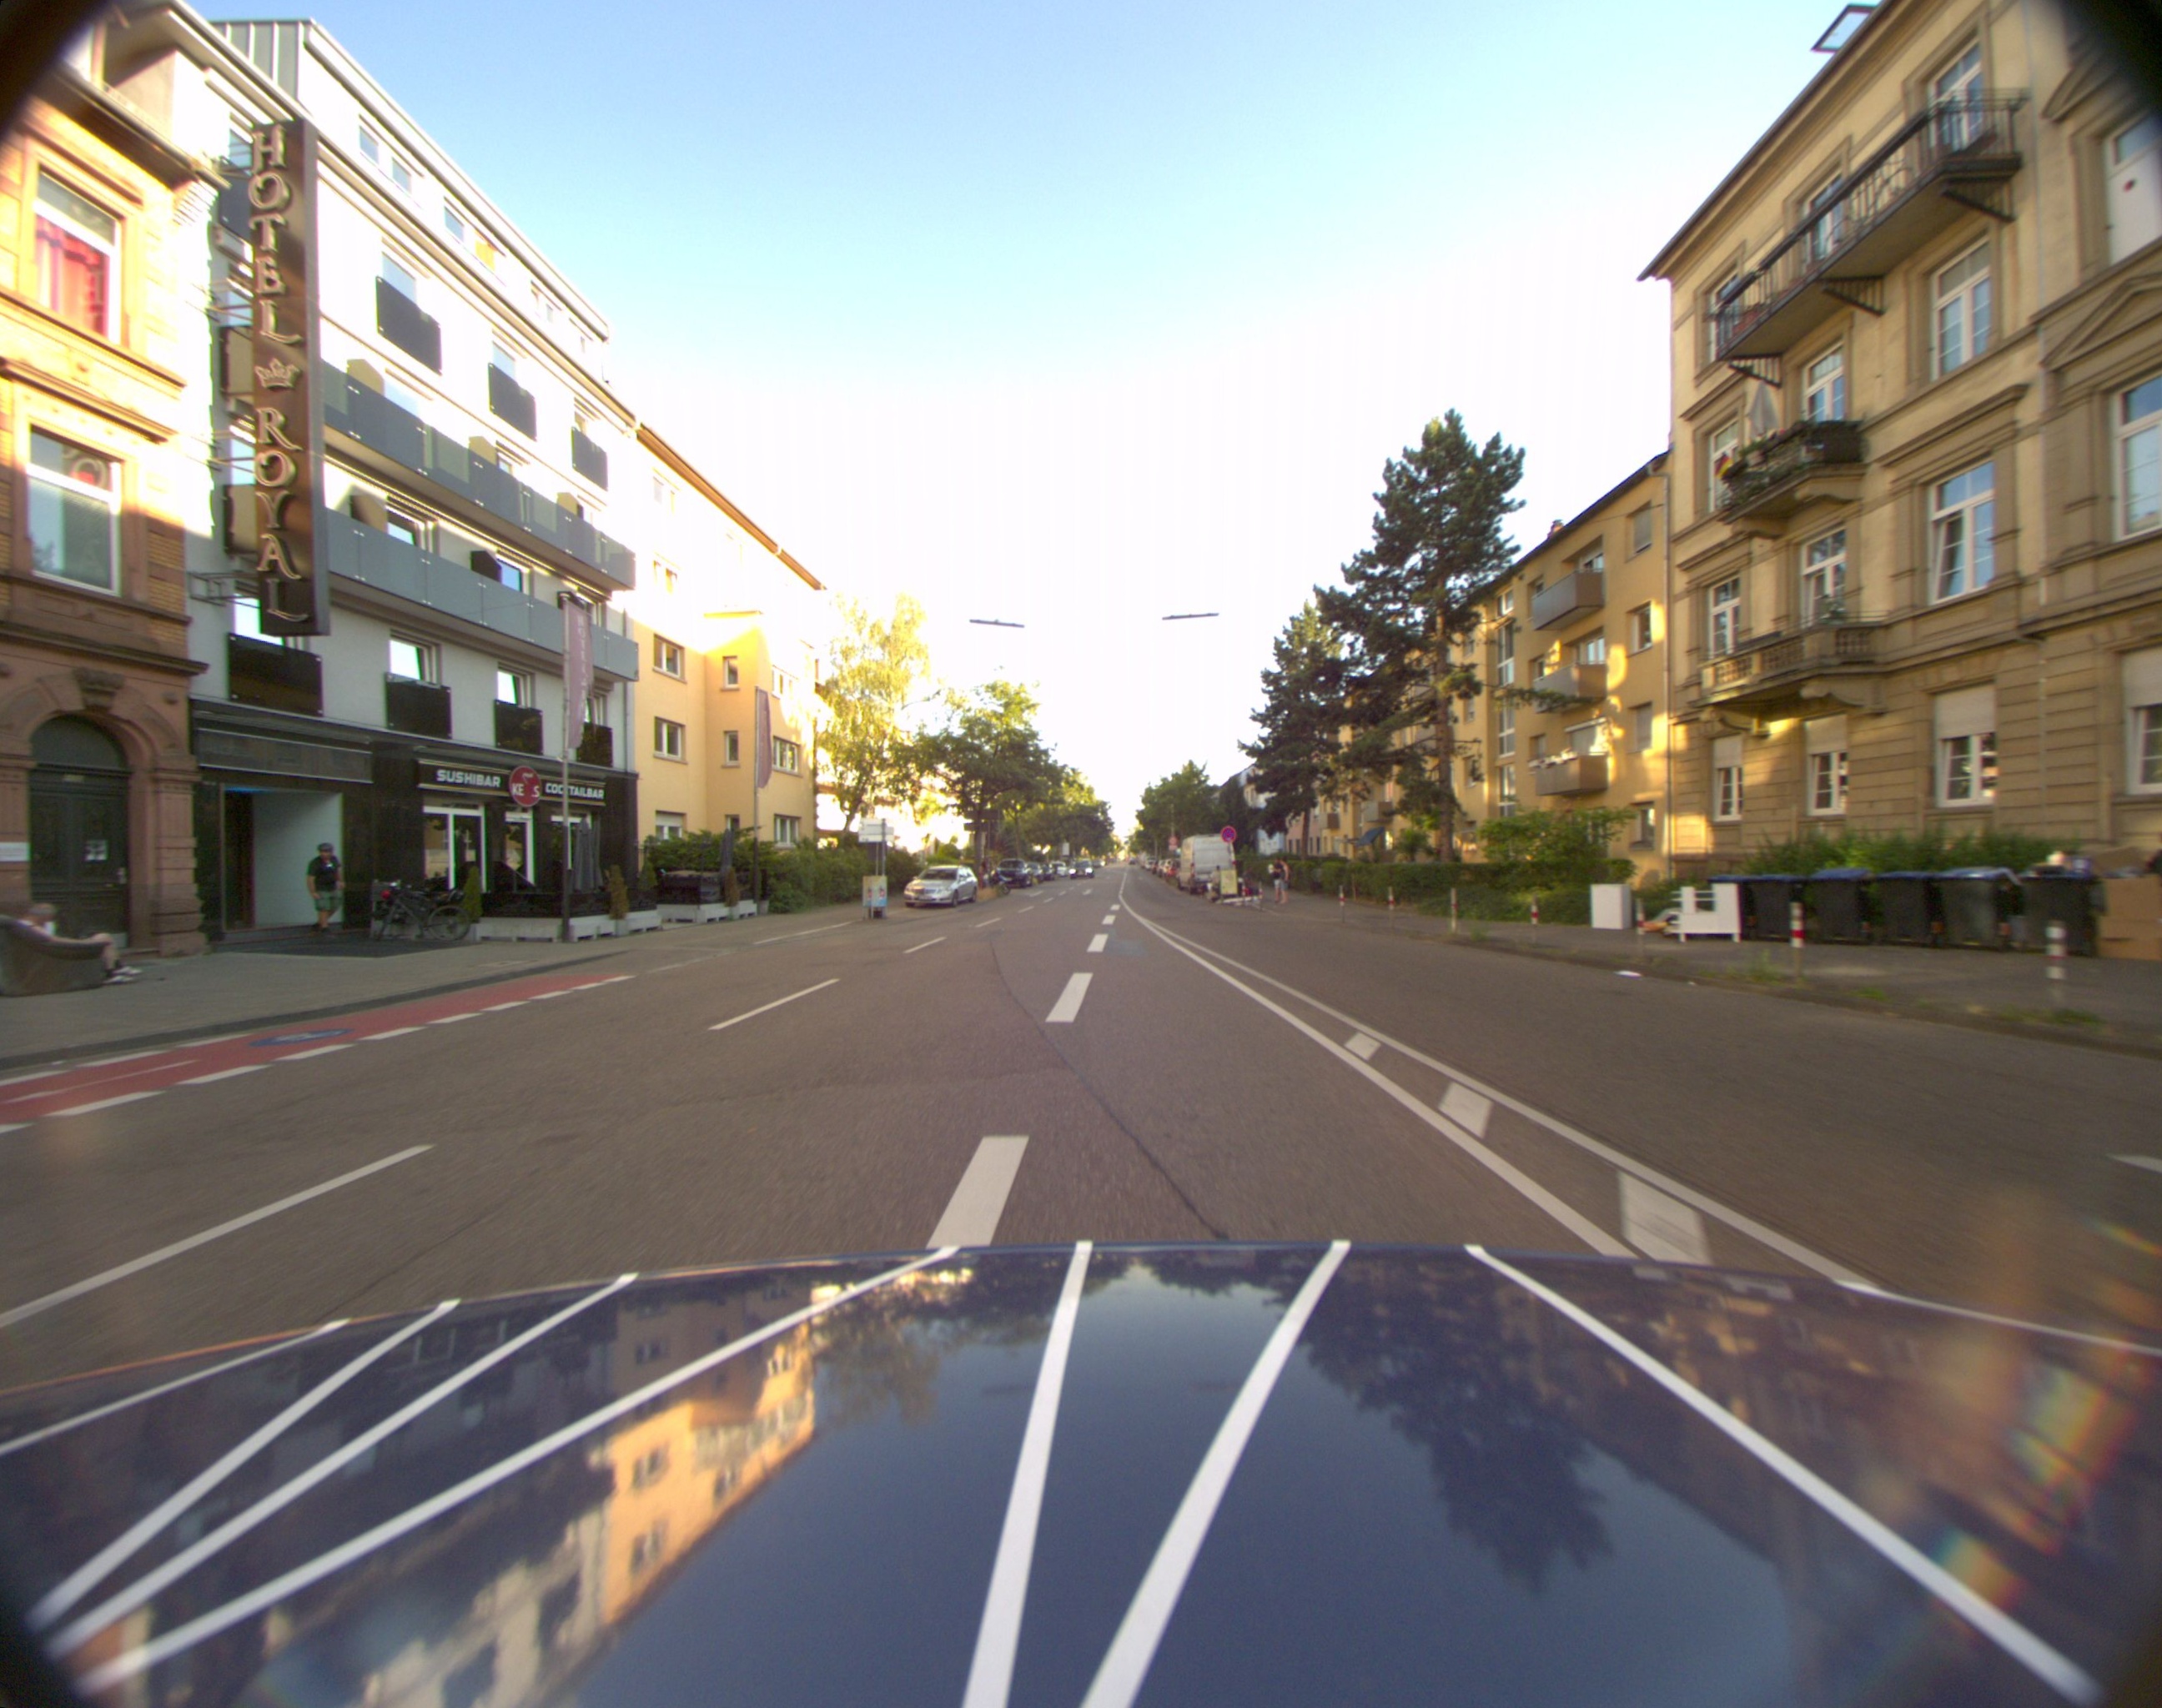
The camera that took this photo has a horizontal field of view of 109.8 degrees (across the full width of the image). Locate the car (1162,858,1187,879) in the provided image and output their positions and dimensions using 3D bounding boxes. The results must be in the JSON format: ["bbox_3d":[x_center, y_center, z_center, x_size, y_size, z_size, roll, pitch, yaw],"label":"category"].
[{"bbox_3d":[7.623,1.134,62.231,1.780,1.579,4.187,-2,0,4],"label":"car"}]

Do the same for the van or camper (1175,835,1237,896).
[{"bbox_3d":[5.970,0.540,37.046,2.040,2.648,6.016,-3,0,1],"label":"van or camper"}]

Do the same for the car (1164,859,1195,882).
[{"bbox_3d":[6.588,1.080,51.079,1.721,1.443,3.924,-2,-1,4],"label":"car"}]

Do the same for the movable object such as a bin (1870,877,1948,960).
[{"bbox_3d":[11.844,0.901,10.876,0.643,1.104,0.582,-3,1,-27],"label":"movable object such as a bin"}]

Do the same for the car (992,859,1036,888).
[{"bbox_3d":[-3.923,1.111,45.226,1.952,1.645,4.797,-1,0,3],"label":"car"}]

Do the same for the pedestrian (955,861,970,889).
[{"bbox_3d":[-6.906,1.209,44.337,0.748,1.606,0.580,-1,0,2],"label":"pedestrian"}]

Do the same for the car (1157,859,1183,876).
[{"bbox_3d":[7.863,1.173,67.222,1.998,1.439,4.459,0,0,3],"label":"car"}]

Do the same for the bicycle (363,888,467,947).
[{"bbox_3d":[-13.009,1.234,14.873,1.426,1.104,0.488,2,0,-14],"label":"bicycle"}]

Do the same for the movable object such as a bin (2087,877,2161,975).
[{"bbox_3d":[12.743,0.850,9.188,0.643,1.104,0.582,-3,1,-27],"label":"movable object such as a bin"}]

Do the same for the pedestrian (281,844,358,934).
[{"bbox_3d":[-14.141,0.642,14.117,0.708,1.633,0.693,-1,0,3],"label":"pedestrian"}]

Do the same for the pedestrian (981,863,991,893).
[{"bbox_3d":[-4.556,1.130,36.484,0.439,1.421,0.704,-1,0,-8],"label":"pedestrian"}]

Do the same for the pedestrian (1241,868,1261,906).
[{"bbox_3d":[6.283,1.205,28.140,0.560,1.369,0.480,-2,0,-2],"label":"pedestrian"}]

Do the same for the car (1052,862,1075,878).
[{"bbox_3d":[-1.650,1.507,71.236,1.766,1.394,4.335,0,0,4],"label":"car"}]

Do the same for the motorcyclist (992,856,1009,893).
[{"bbox_3d":[-3.897,0.976,36.727,0.738,1.767,1.087,-1,0,-8],"label":"motorcyclist"}]

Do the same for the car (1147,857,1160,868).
[{"bbox_3d":[10.298,1.191,107.809,1.683,1.434,3.883,-2,-1,5],"label":"car"}]

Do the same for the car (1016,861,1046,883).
[{"bbox_3d":[-3.513,1.263,54.043,1.720,1.463,4.432,0,0,2],"label":"car"}]

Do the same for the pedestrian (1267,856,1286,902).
[{"bbox_3d":[7.120,0.903,27.672,0.481,1.642,0.725,-1,0,-2],"label":"pedestrian"}]

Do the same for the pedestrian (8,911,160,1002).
[{"bbox_3d":[-12.735,1.286,9.737,0.692,1.037,0.945,-1,0,7],"label":"pedestrian"}]

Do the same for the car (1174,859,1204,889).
[{"bbox_3d":[5.924,1.076,41.916,1.406,1.539,2.763,-3,0,5],"label":"car"}]

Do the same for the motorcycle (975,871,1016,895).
[{"bbox_3d":[-4.135,1.395,36.748,1.932,1.064,0.820,-1,0,-8],"label":"motorcycle"}]

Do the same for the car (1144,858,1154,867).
[{"bbox_3d":[11.801,1.462,131.913,1.808,1.489,3.958,-1,0,5],"label":"car"}]

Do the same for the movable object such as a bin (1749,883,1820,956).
[{"bbox_3d":[11.171,1.021,12.076,0.643,1.062,0.626,-3,1,-27],"label":"movable object such as a bin"}]

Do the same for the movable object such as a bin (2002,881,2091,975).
[{"bbox_3d":[12.357,0.920,9.730,0.643,1.104,0.582,-3,1,-27],"label":"movable object such as a bin"}]

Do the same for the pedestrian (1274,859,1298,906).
[{"bbox_3d":[7.258,1.008,26.893,0.606,1.642,0.697,-1,0,-2],"label":"pedestrian"}]

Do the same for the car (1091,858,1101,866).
[{"bbox_3d":[2.915,1.557,150.186,1.797,1.558,3.673,0,0,4],"label":"car"}]

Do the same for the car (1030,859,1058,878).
[{"bbox_3d":[-2.913,1.159,60.825,1.774,1.440,4.485,0,0,4],"label":"car"}]

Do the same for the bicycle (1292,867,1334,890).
[{"bbox_3d":[10.756,1.140,35.266,1.762,0.976,0.590,-2,0,5],"label":"bicycle"}]

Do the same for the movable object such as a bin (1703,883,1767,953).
[{"bbox_3d":[10.925,1.050,12.696,0.643,1.077,0.582,-3,1,-27],"label":"movable object such as a bin"}]

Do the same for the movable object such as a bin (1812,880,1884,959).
[{"bbox_3d":[11.561,0.967,11.460,0.643,1.104,0.582,-3,1,-27],"label":"movable object such as a bin"}]

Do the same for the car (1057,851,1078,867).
[{"bbox_3d":[-1.427,0.531,81.952,1.921,1.672,4.708,1,0,2],"label":"car"}]

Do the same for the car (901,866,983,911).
[{"bbox_3d":[-5.219,1.237,29.244,1.859,1.503,4.836,1,0,5],"label":"car"}]

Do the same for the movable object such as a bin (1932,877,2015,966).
[{"bbox_3d":[12.010,0.888,10.229,0.643,1.104,0.582,-3,1,-27],"label":"movable object such as a bin"}]

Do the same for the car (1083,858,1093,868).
[{"bbox_3d":[1.208,1.470,128.759,1.798,1.577,4.000,0,0,1],"label":"car"}]

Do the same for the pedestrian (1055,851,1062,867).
[{"bbox_3d":[-2.612,0.609,89.608,0.669,1.773,0.764,-4,2,3],"label":"pedestrian"}]

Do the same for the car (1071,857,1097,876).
[{"bbox_3d":[0.291,1.076,65.228,1.998,1.525,4.001,-1,0,2],"label":"car"}]

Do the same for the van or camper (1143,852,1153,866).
[{"bbox_3d":[12.841,0.903,145.779,1.917,2.528,5.336,-1,0,4],"label":"van or camper"}]

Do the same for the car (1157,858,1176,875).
[{"bbox_3d":[8.330,1.226,74.477,1.594,1.483,3.642,-1,0,3],"label":"car"}]

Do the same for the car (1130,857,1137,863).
[{"bbox_3d":[14.395,1.698,209.185,1.698,1.570,3.832,-2,0,2],"label":"car"}]

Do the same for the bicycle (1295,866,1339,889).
[{"bbox_3d":[10.708,1.081,34.514,1.789,0.976,0.590,-2,0,5],"label":"bicycle"}]

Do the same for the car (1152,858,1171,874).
[{"bbox_3d":[8.387,1.231,79.620,1.841,1.508,4.317,-2,0,4],"label":"car"}]
